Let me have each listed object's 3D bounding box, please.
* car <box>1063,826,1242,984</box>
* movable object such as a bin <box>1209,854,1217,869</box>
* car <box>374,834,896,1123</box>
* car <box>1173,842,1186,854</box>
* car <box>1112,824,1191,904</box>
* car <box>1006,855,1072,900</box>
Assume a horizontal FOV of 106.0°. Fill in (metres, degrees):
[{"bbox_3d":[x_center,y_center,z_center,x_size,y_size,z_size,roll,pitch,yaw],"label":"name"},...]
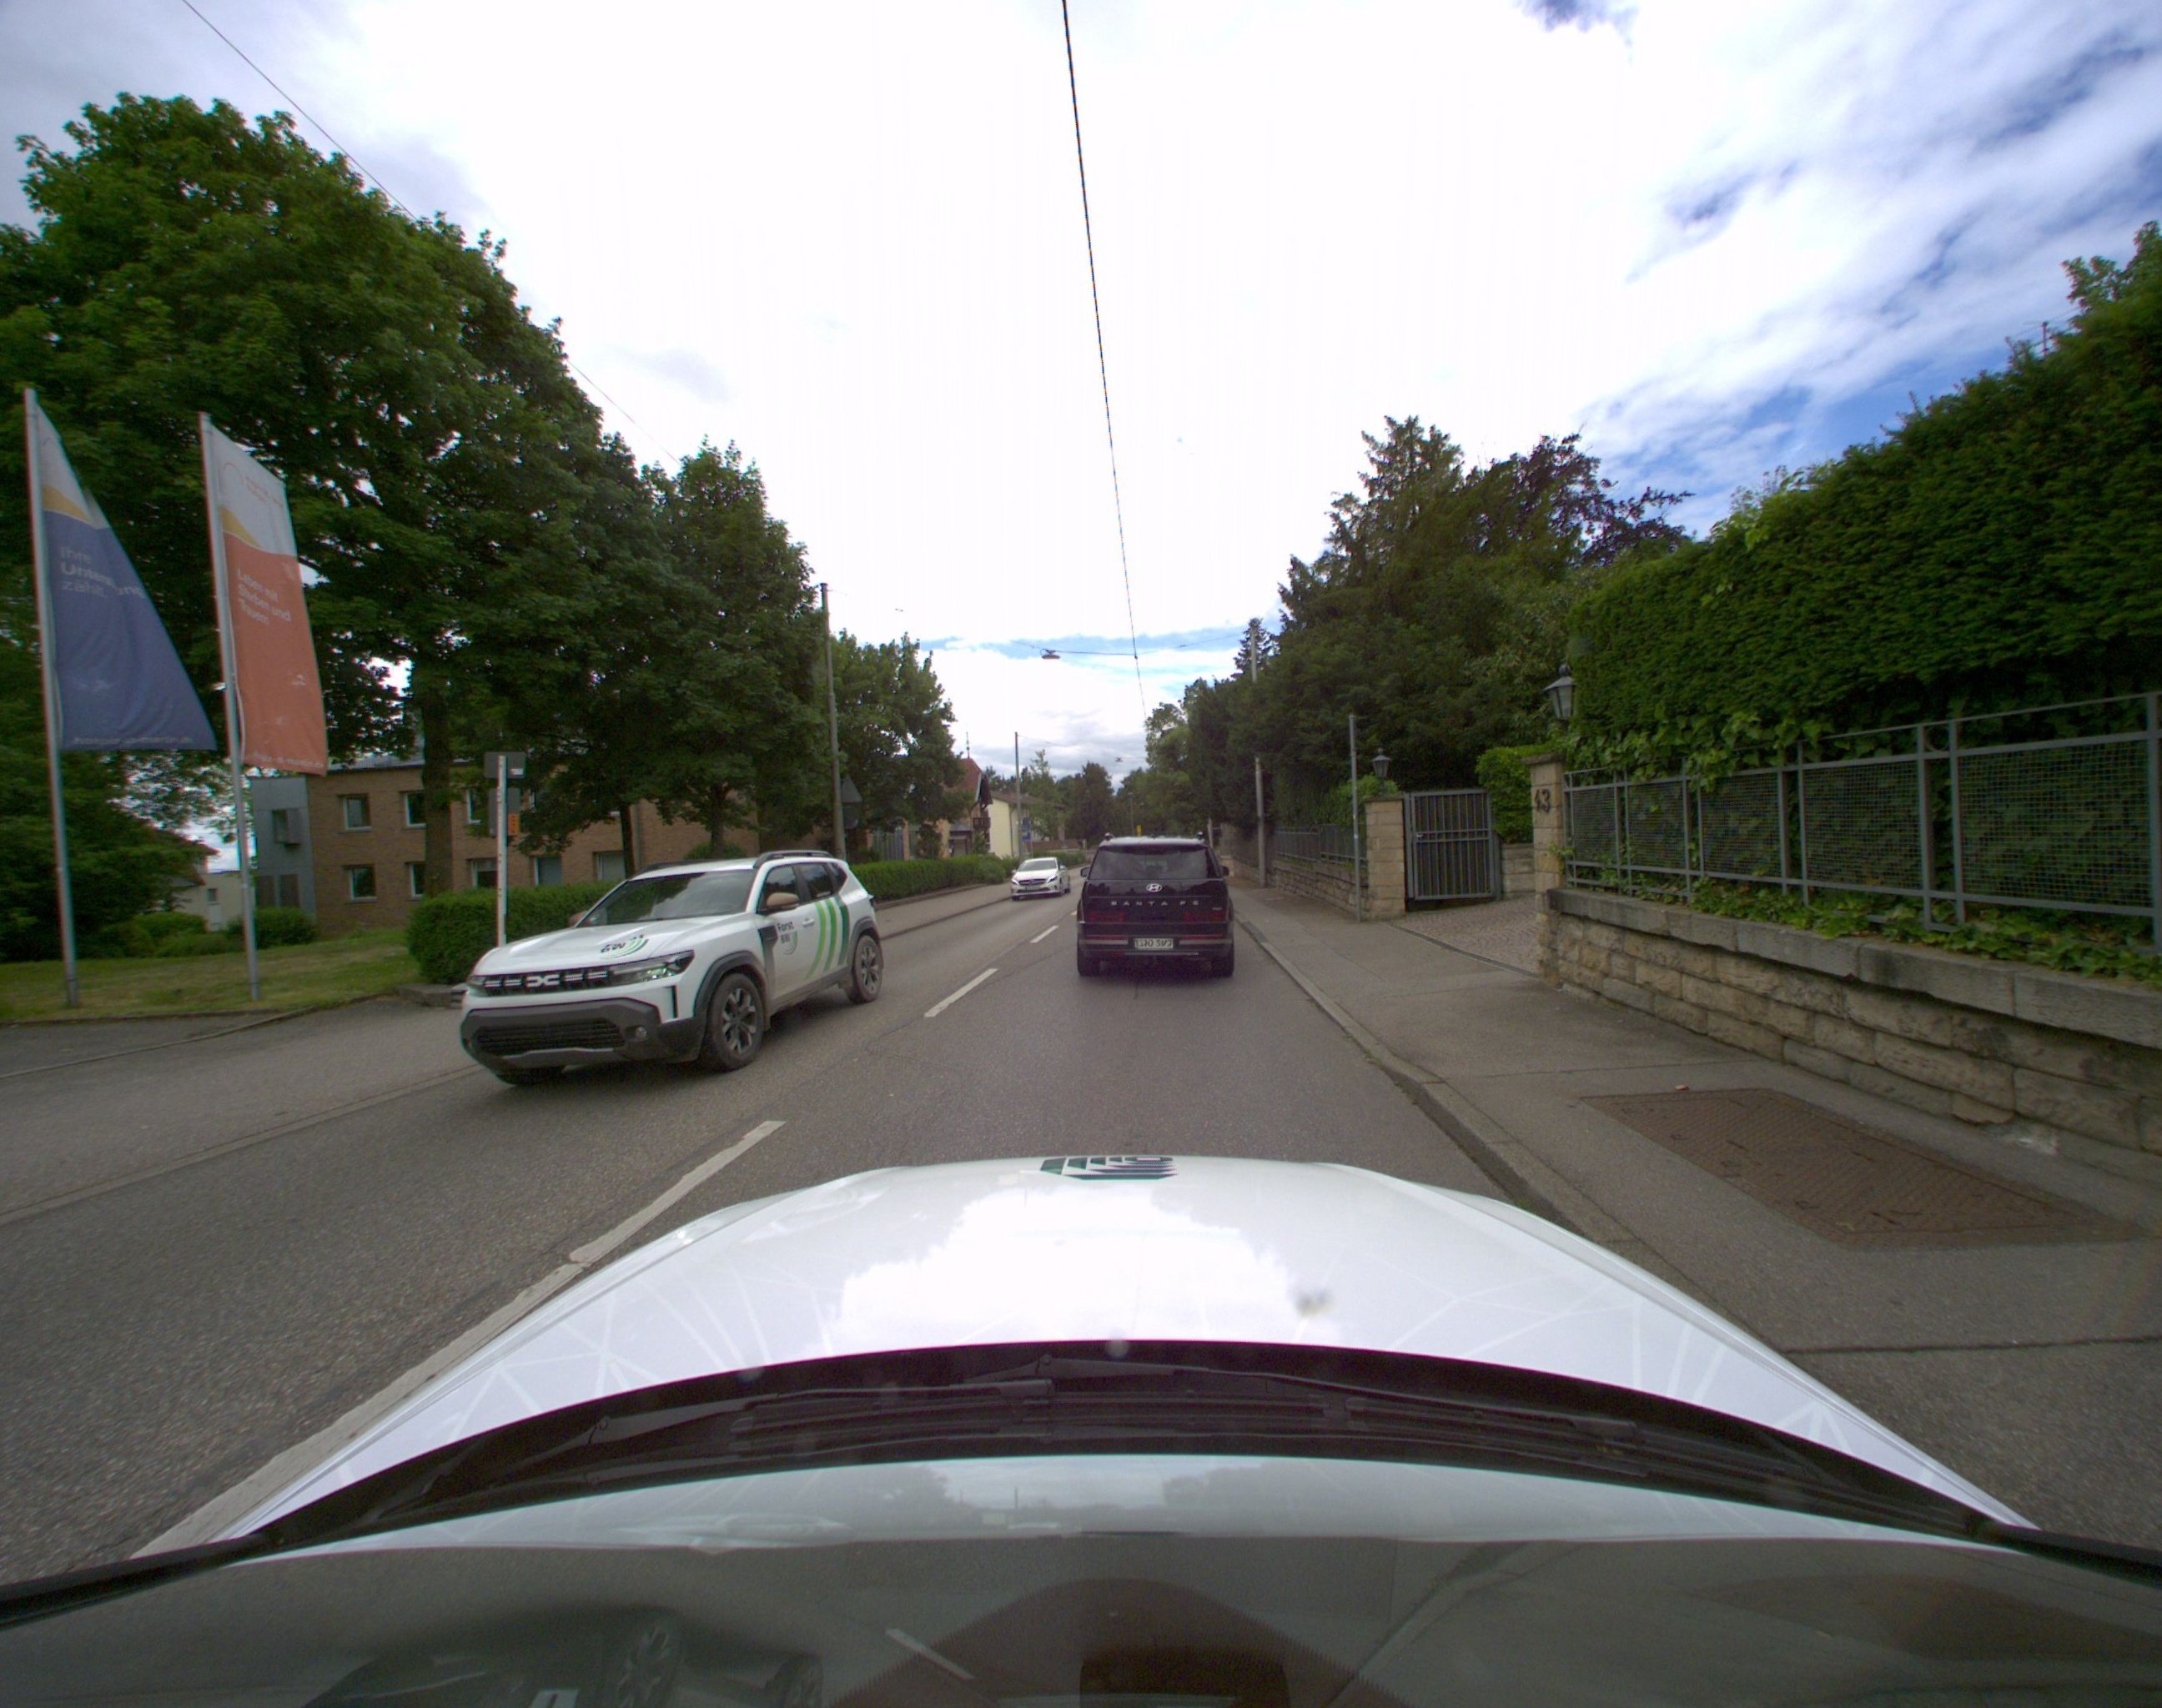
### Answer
[{"bbox_3d":[0.993,0.533,11.010,1.947,1.713,4.231,0,1,6],"label":"car"},{"bbox_3d":[8.260,0.475,50.984,0.442,0.910,0.396,-3,0,15],"label":"movable object such as a bin"},{"bbox_3d":[-3.262,0.768,7.165,1.760,1.637,4.308,-6,0,5],"label":"car"},{"bbox_3d":[14.624,-0.885,120.672,1.635,1.561,3.658,-3,-2,9],"label":"car"},{"bbox_3d":[1.901,0.198,22.522,1.948,1.955,4.228,1,1,4],"label":"car"},{"bbox_3d":[-1.479,0.810,30.008,1.758,1.421,4.071,-5,0,5],"label":"car"}]
